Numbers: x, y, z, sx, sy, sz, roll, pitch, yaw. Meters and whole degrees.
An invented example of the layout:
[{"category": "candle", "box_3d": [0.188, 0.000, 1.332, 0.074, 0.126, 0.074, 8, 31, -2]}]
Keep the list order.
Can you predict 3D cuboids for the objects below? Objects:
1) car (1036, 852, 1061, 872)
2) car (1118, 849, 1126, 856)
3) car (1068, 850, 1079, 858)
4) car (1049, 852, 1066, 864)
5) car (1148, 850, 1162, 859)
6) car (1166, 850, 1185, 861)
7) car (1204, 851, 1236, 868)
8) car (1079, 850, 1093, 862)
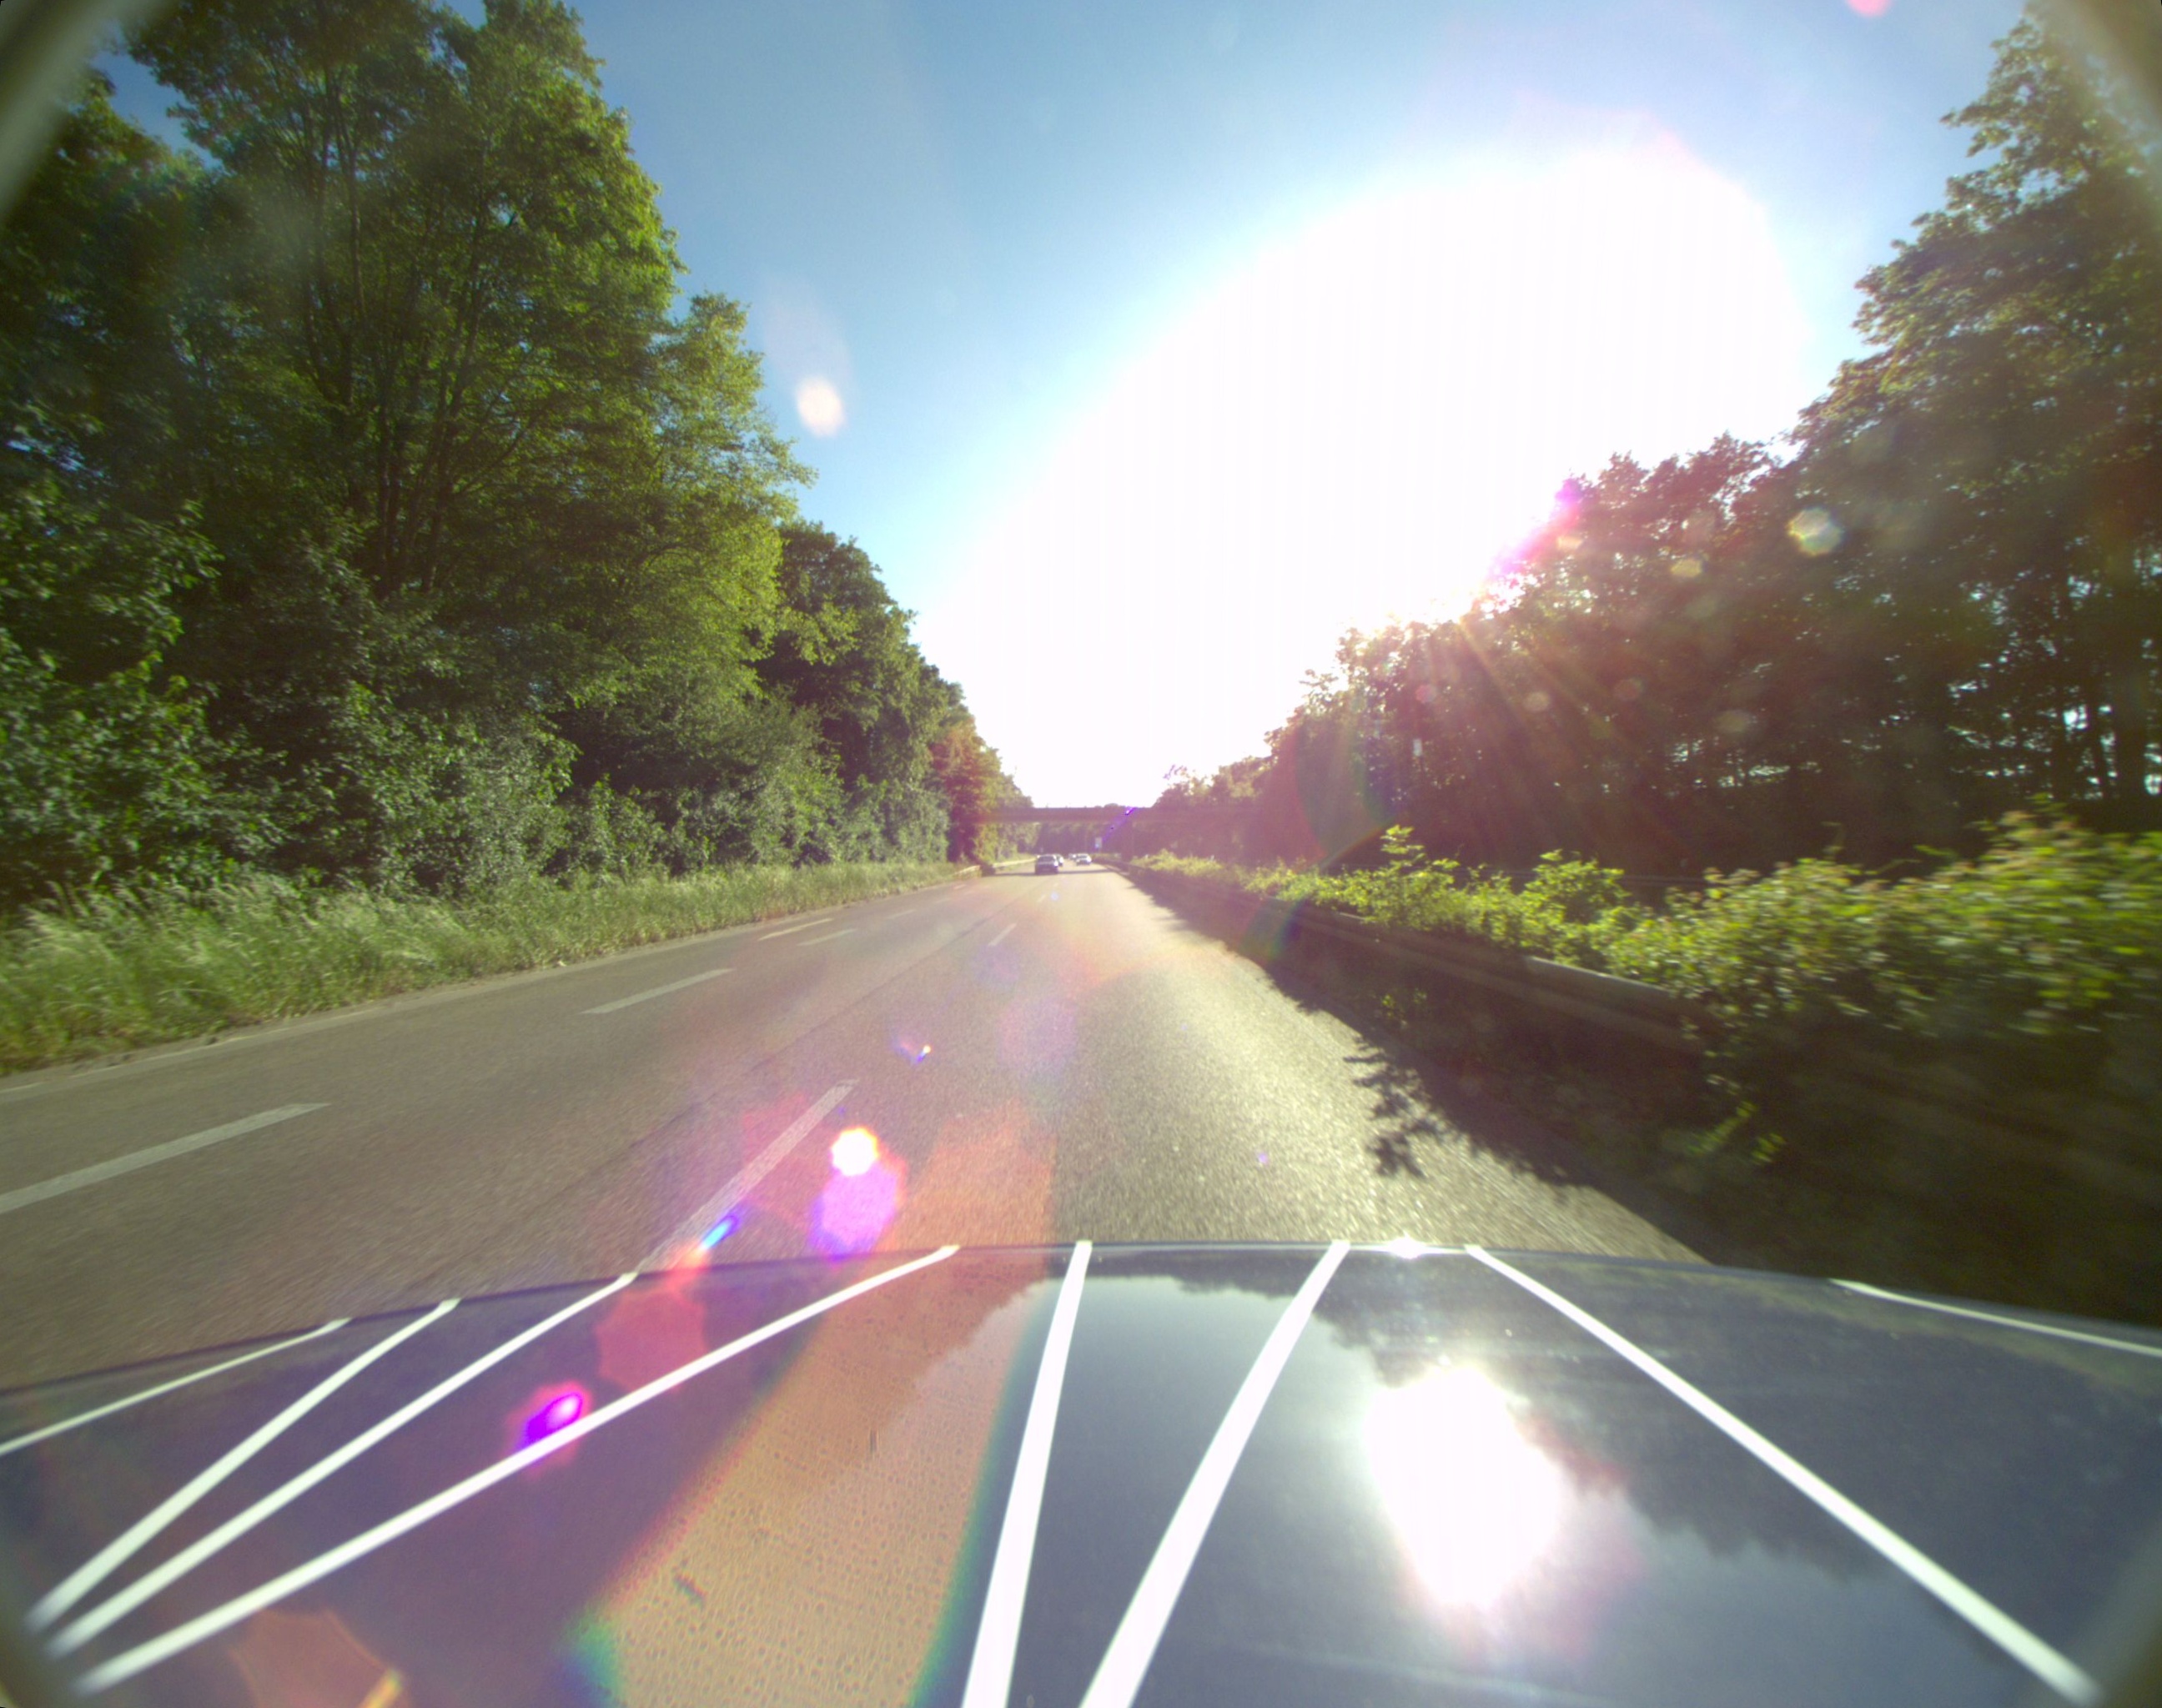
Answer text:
[{"category": "car", "box_3d": [-2.511, 0.625, 60.394, 1.801, 1.453, 4.355, -2, 1, -1]}, {"category": "car", "box_3d": [10.389, -0.402, 193.311, 1.965, 1.649, 5.040, -1, 1, 0]}, {"category": "car", "box_3d": [-1.536, 0.040, 149.668, 1.801, 1.453, 4.400, 0, 0, -5]}, {"category": "car", "box_3d": [-2.966, 0.445, 95.865, 1.802, 1.453, 4.353, -1, 1, -7]}, {"category": "car", "box_3d": [12.832, 0.075, 132.707, 1.966, 1.442, 4.705, -1, 0, 0]}, {"category": "car", "box_3d": [12.983, 0.236, 104.362, 1.966, 1.442, 4.583, -2, 0, -1]}, {"category": "car", "box_3d": [12.504, 0.495, 68.518, 1.966, 1.442, 4.325, -2, 0, -1]}, {"category": "car", "box_3d": [0.670, 0.265, 103.087, 1.904, 1.453, 4.355, -1, 1, -1]}]
